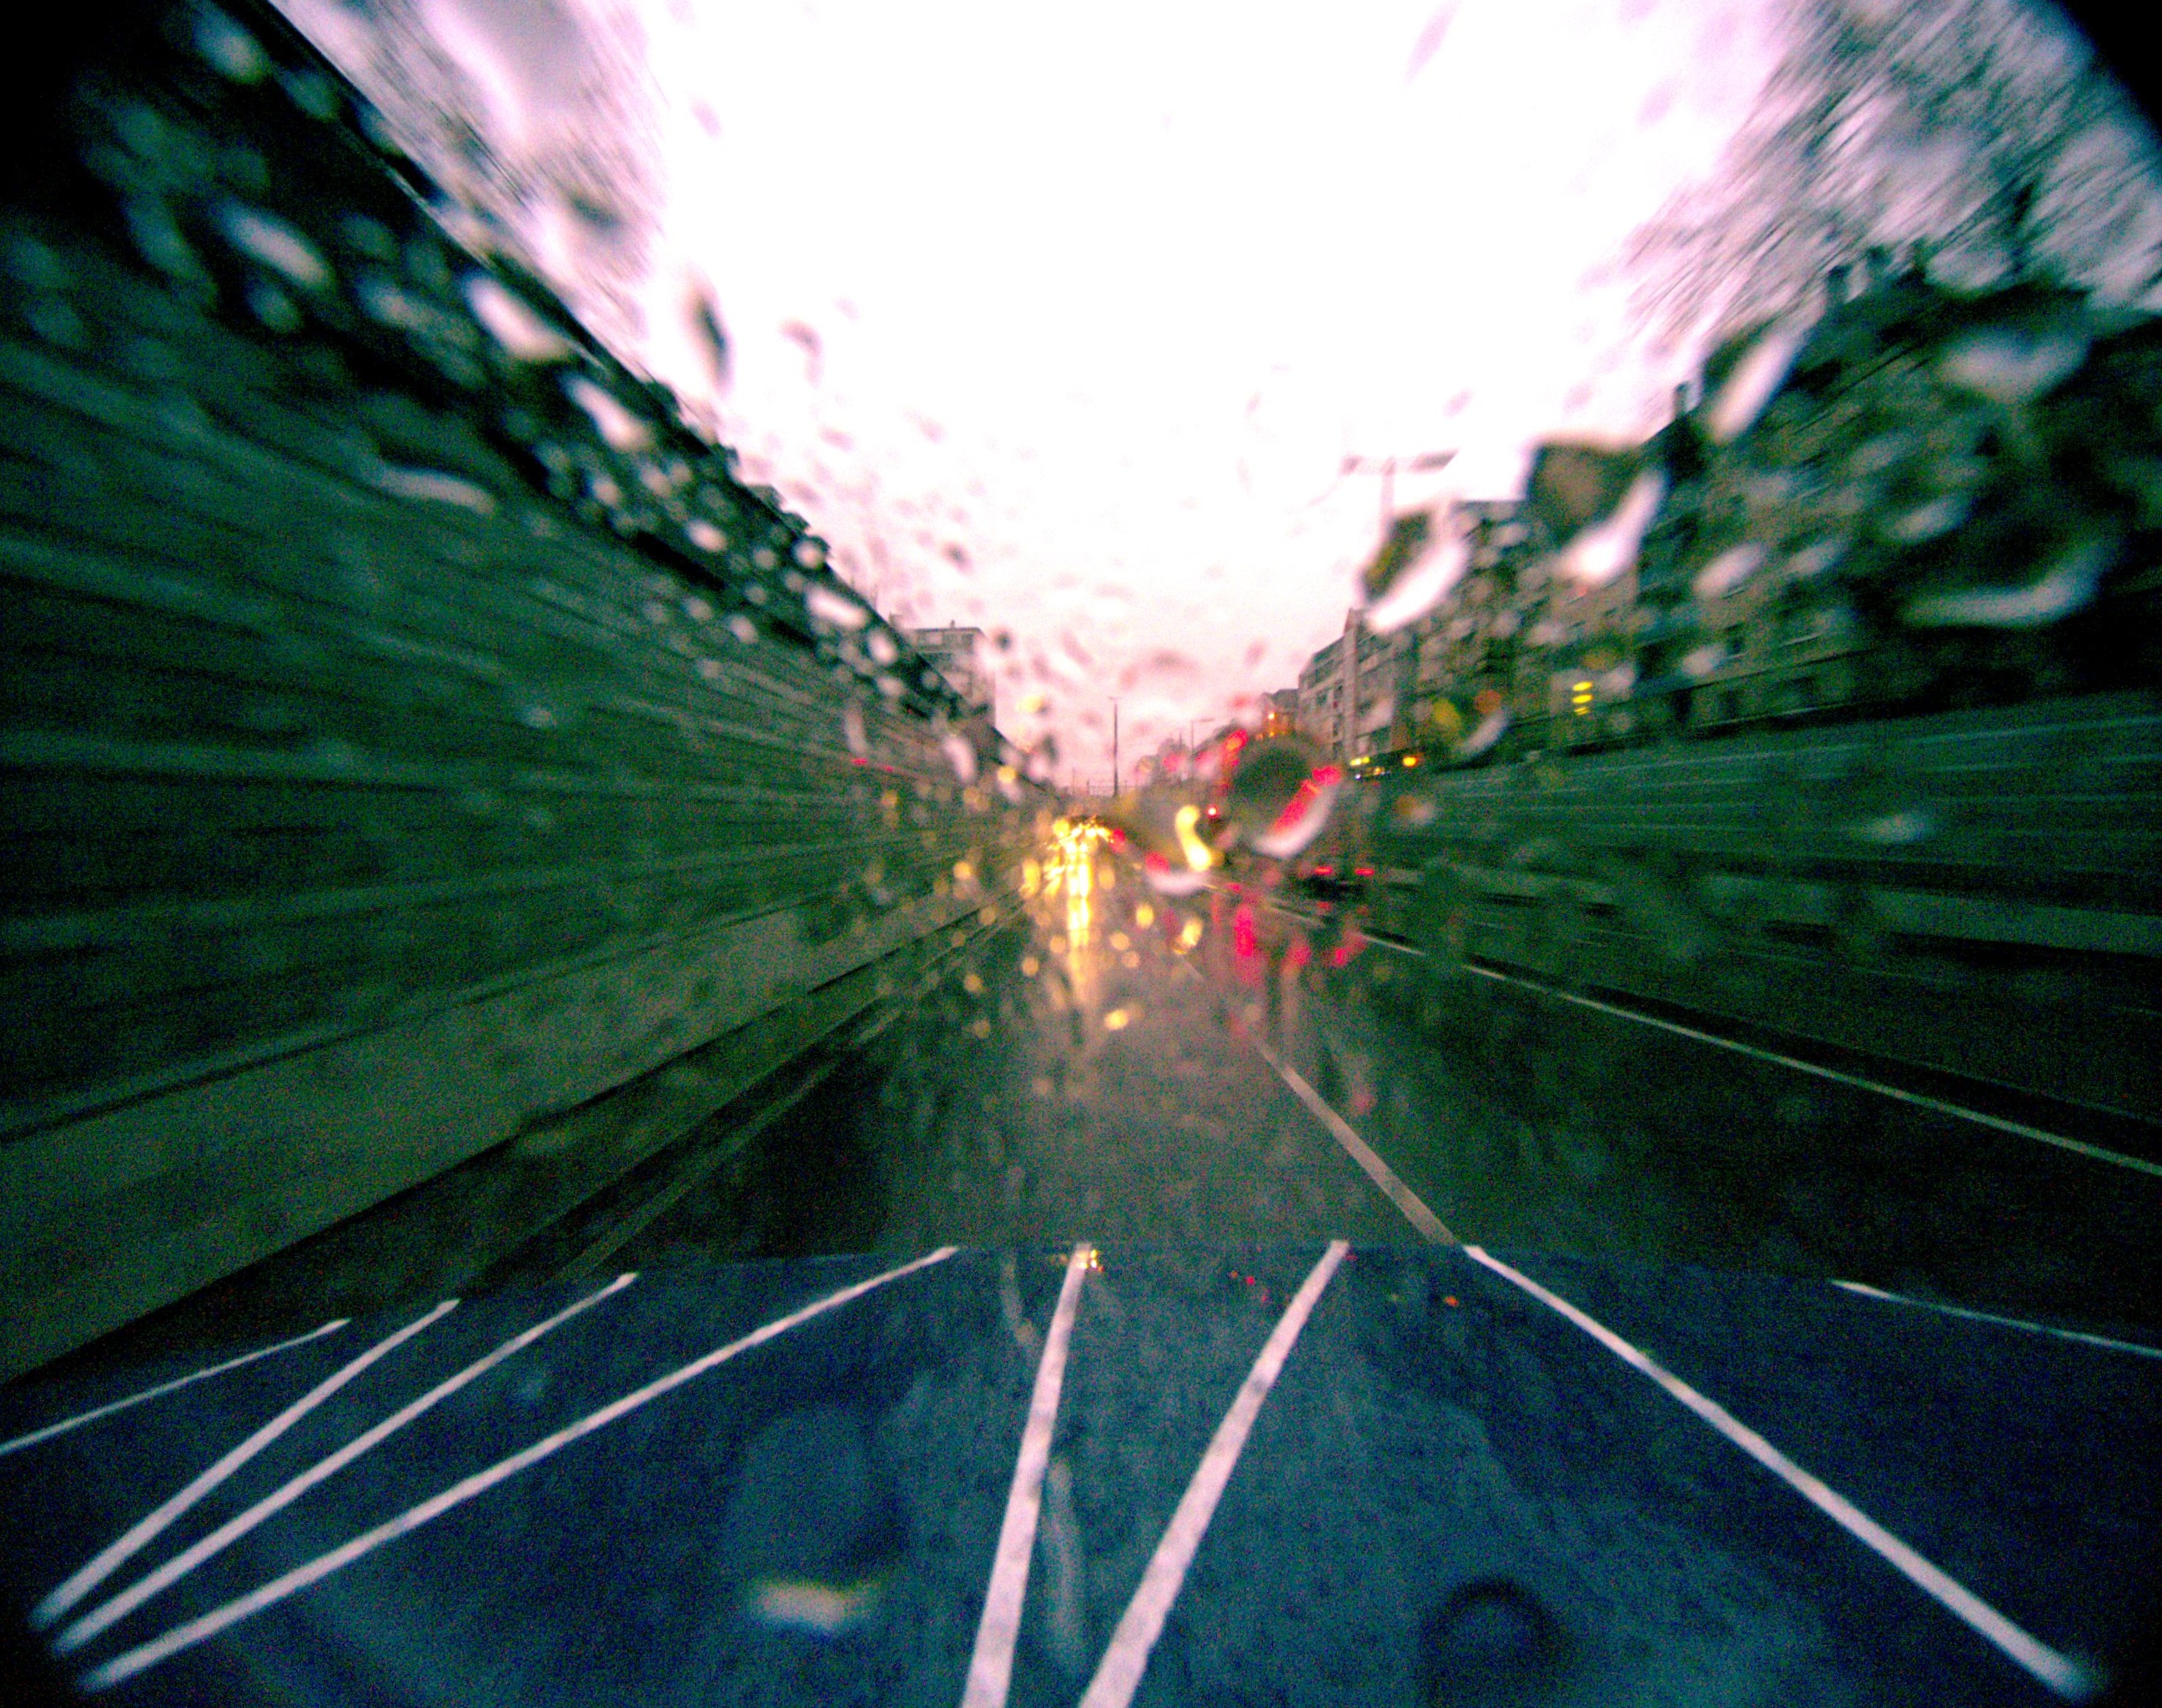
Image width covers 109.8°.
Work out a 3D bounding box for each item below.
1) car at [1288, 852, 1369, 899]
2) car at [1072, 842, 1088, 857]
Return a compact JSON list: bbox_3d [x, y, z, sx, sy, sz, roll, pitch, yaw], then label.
[{"bbox_3d":[8.413,0.685,26.101,1.575,1.462,3.686,-1,0,0],"label":"car"},{"bbox_3d":[-0.168,-0.662,111.464,2.031,2.018,4.421,-2,2,-2],"label":"car"}]
